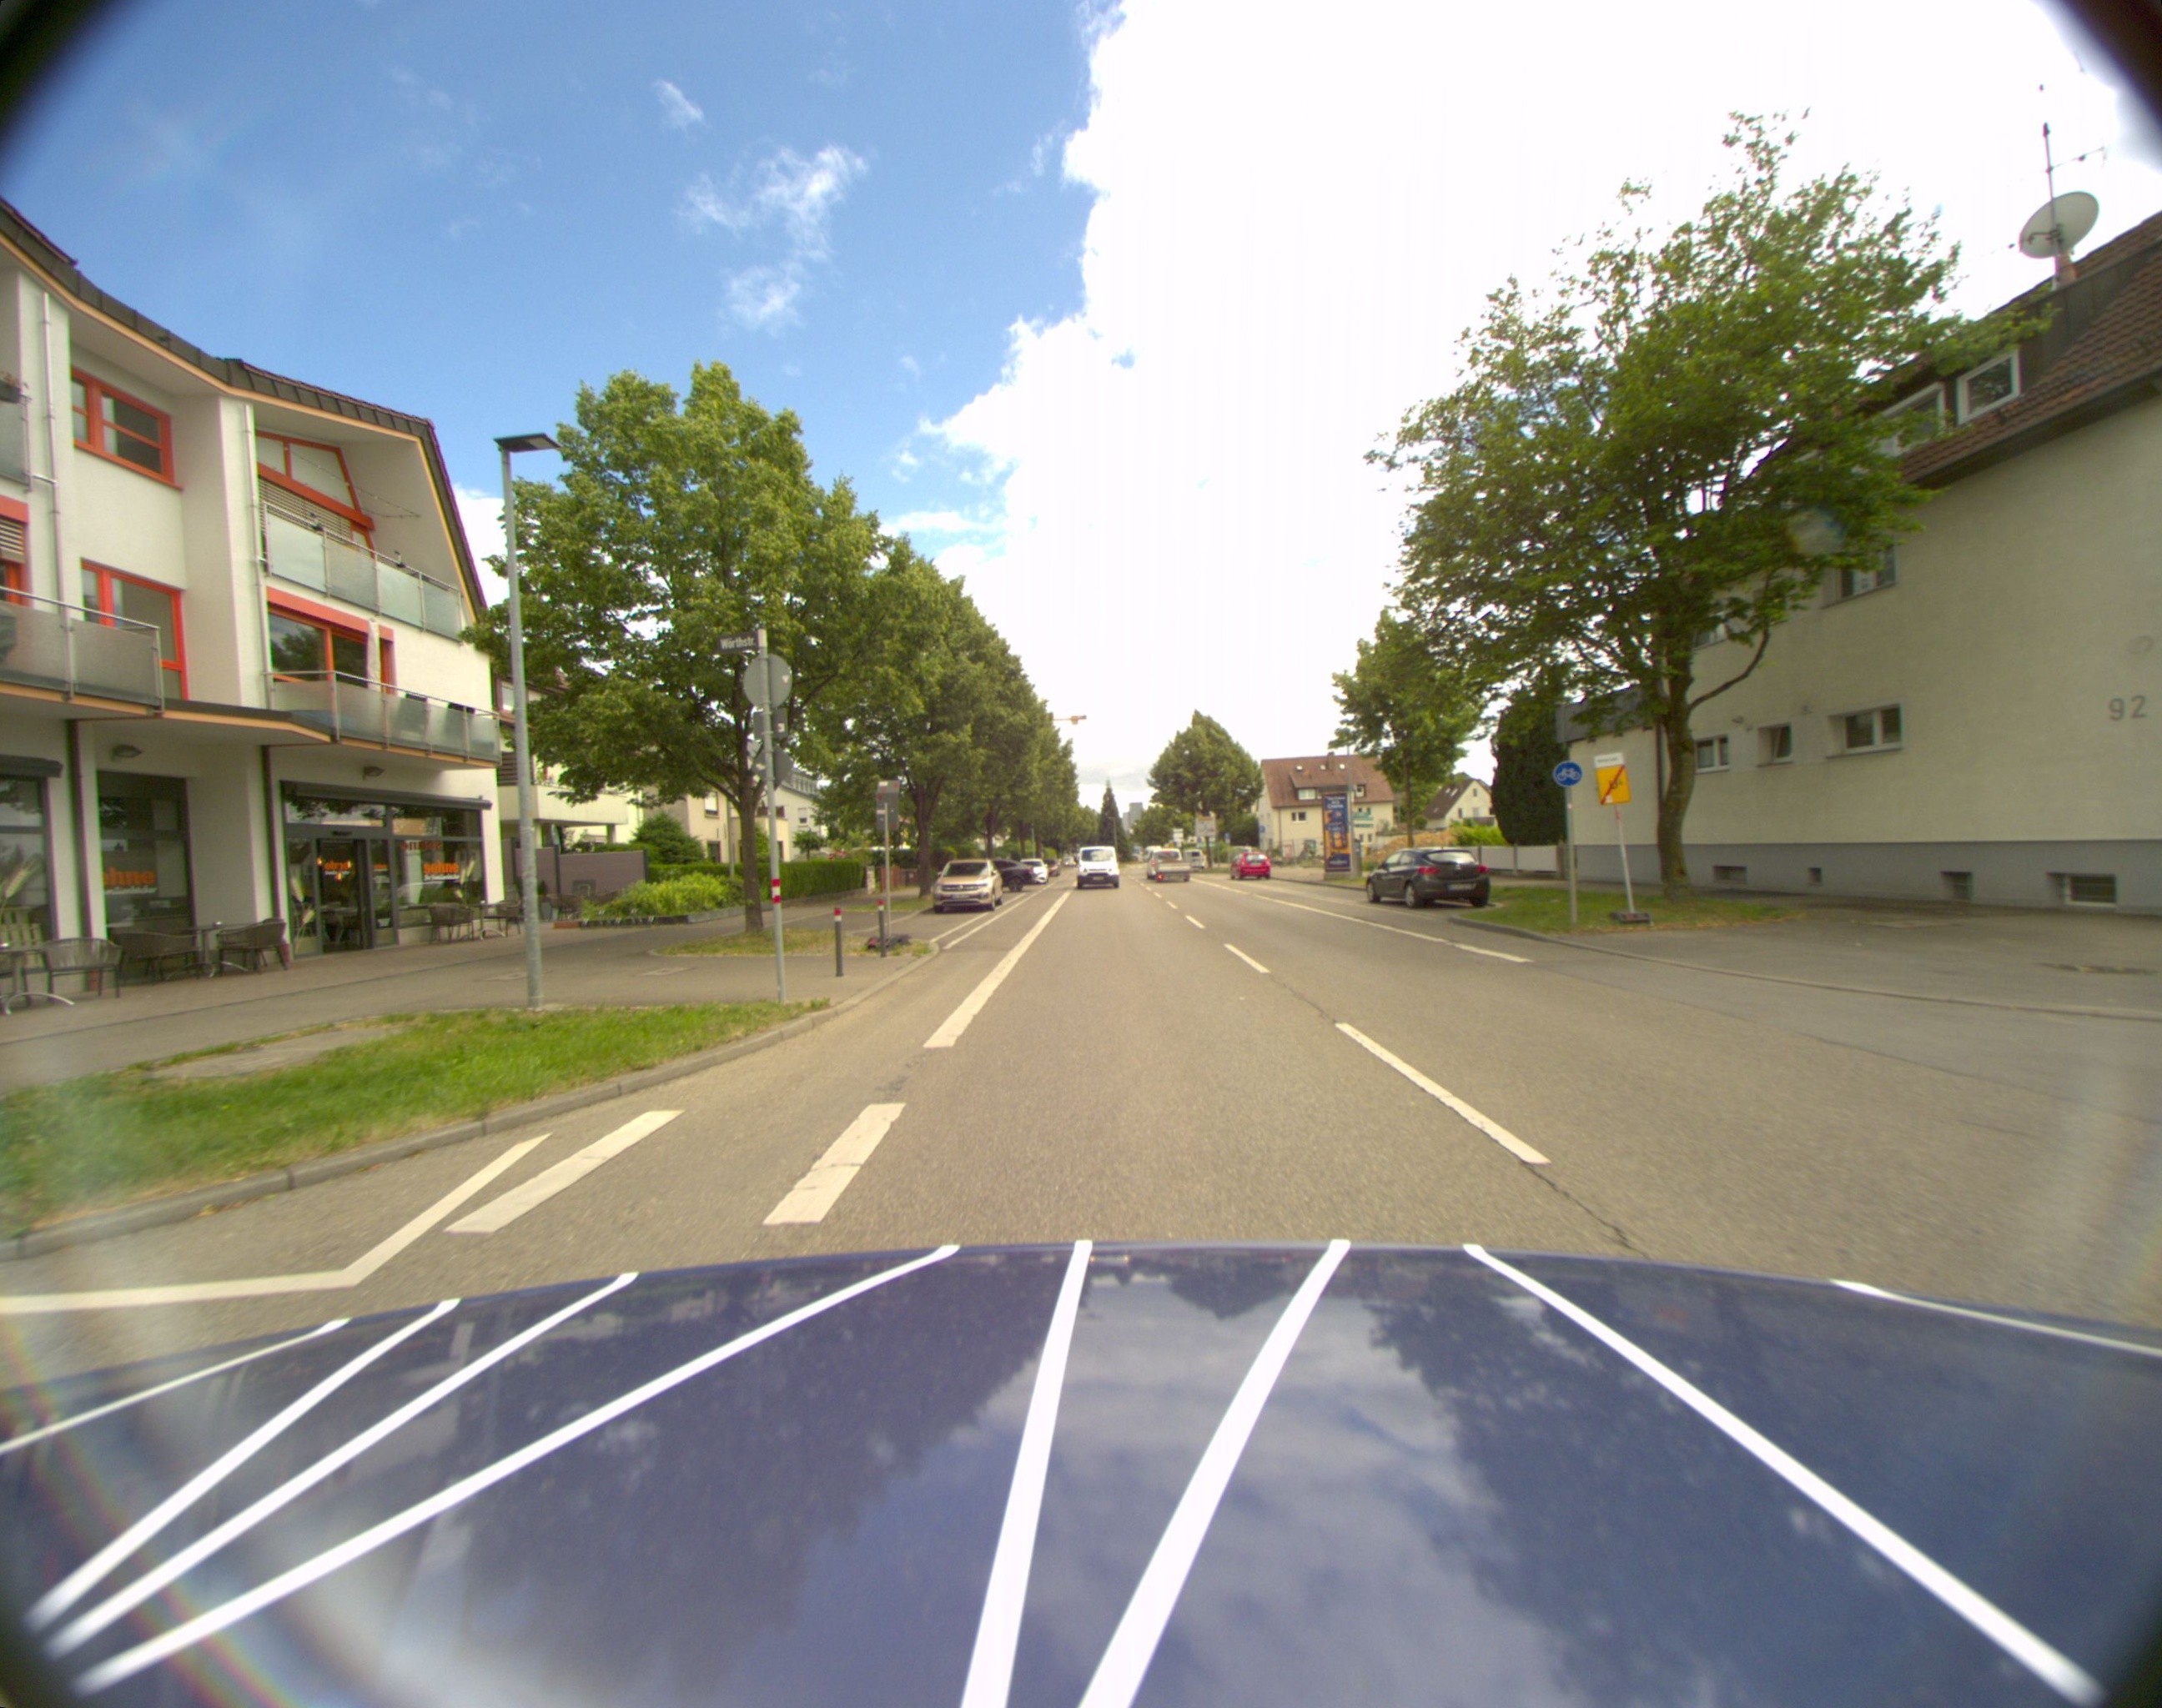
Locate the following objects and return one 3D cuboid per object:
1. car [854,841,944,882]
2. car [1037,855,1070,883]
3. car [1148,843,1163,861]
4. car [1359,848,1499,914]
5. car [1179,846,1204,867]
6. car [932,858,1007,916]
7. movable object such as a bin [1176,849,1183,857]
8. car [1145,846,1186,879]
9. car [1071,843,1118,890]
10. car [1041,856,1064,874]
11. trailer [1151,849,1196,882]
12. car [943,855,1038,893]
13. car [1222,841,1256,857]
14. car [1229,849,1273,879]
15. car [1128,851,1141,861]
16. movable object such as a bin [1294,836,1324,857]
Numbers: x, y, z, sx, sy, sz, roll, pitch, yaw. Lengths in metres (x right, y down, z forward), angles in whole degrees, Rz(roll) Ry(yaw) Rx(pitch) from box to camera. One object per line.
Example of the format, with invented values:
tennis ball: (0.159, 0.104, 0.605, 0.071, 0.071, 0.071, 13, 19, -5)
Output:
car: (-12.570, 0.538, 52.804, 5.729, 2.576, 1.997, -2, 0, -3)
car: (-1.593, 0.864, 45.423, 1.810, 1.466, 4.811, -2, 0, 0)
car: (11.648, -0.382, 119.196, 2.023, 2.658, 5.807, -3, 0, 3)
car: (8.788, 0.619, 19.625, 1.735, 1.460, 4.302, -2, 0, 2)
car: (9.887, 0.222, 68.338, 1.774, 1.760, 4.552, -3, 0, 3)
car: (-3.358, 0.945, 23.512, 1.726, 1.571, 4.060, -2, 0, -1)
movable object such as a bin: (18.449, -0.180, 142.503, 0.983, 1.408, 2.723, -3, 0, 2)
car: (5.177, 0.500, 47.087, 1.971, 1.820, 4.819, -2, 0, 1)
car: (0.714, 0.545, 35.899, 1.998, 2.002, 5.051, -3, 0, 3)
car: (-2.292, 0.867, 61.839, 1.657, 1.407, 4.177, -1, 0, 1)
trailer: (5.092, 0.584, 42.354, 1.943, 1.667, 4.688, -2, 0, 1)
car: (-4.153, 0.893, 35.326, 4.229, 1.628, 1.692, -1, 0, -4)
car: (20.157, -0.655, 97.208, 3.927, 1.653, 1.855, -4, 2, 2)
car: (9.362, 0.543, 42.208, 1.689, 1.532, 4.133, -2, 0, 3)
car: (9.696, 0.354, 137.279, 1.927, 1.744, 3.999, -3, 0, -2)
movable object such as a bin: (25.171, -0.846, 84.051, 1.901, 2.175, 4.362, -2, 0, -1)
